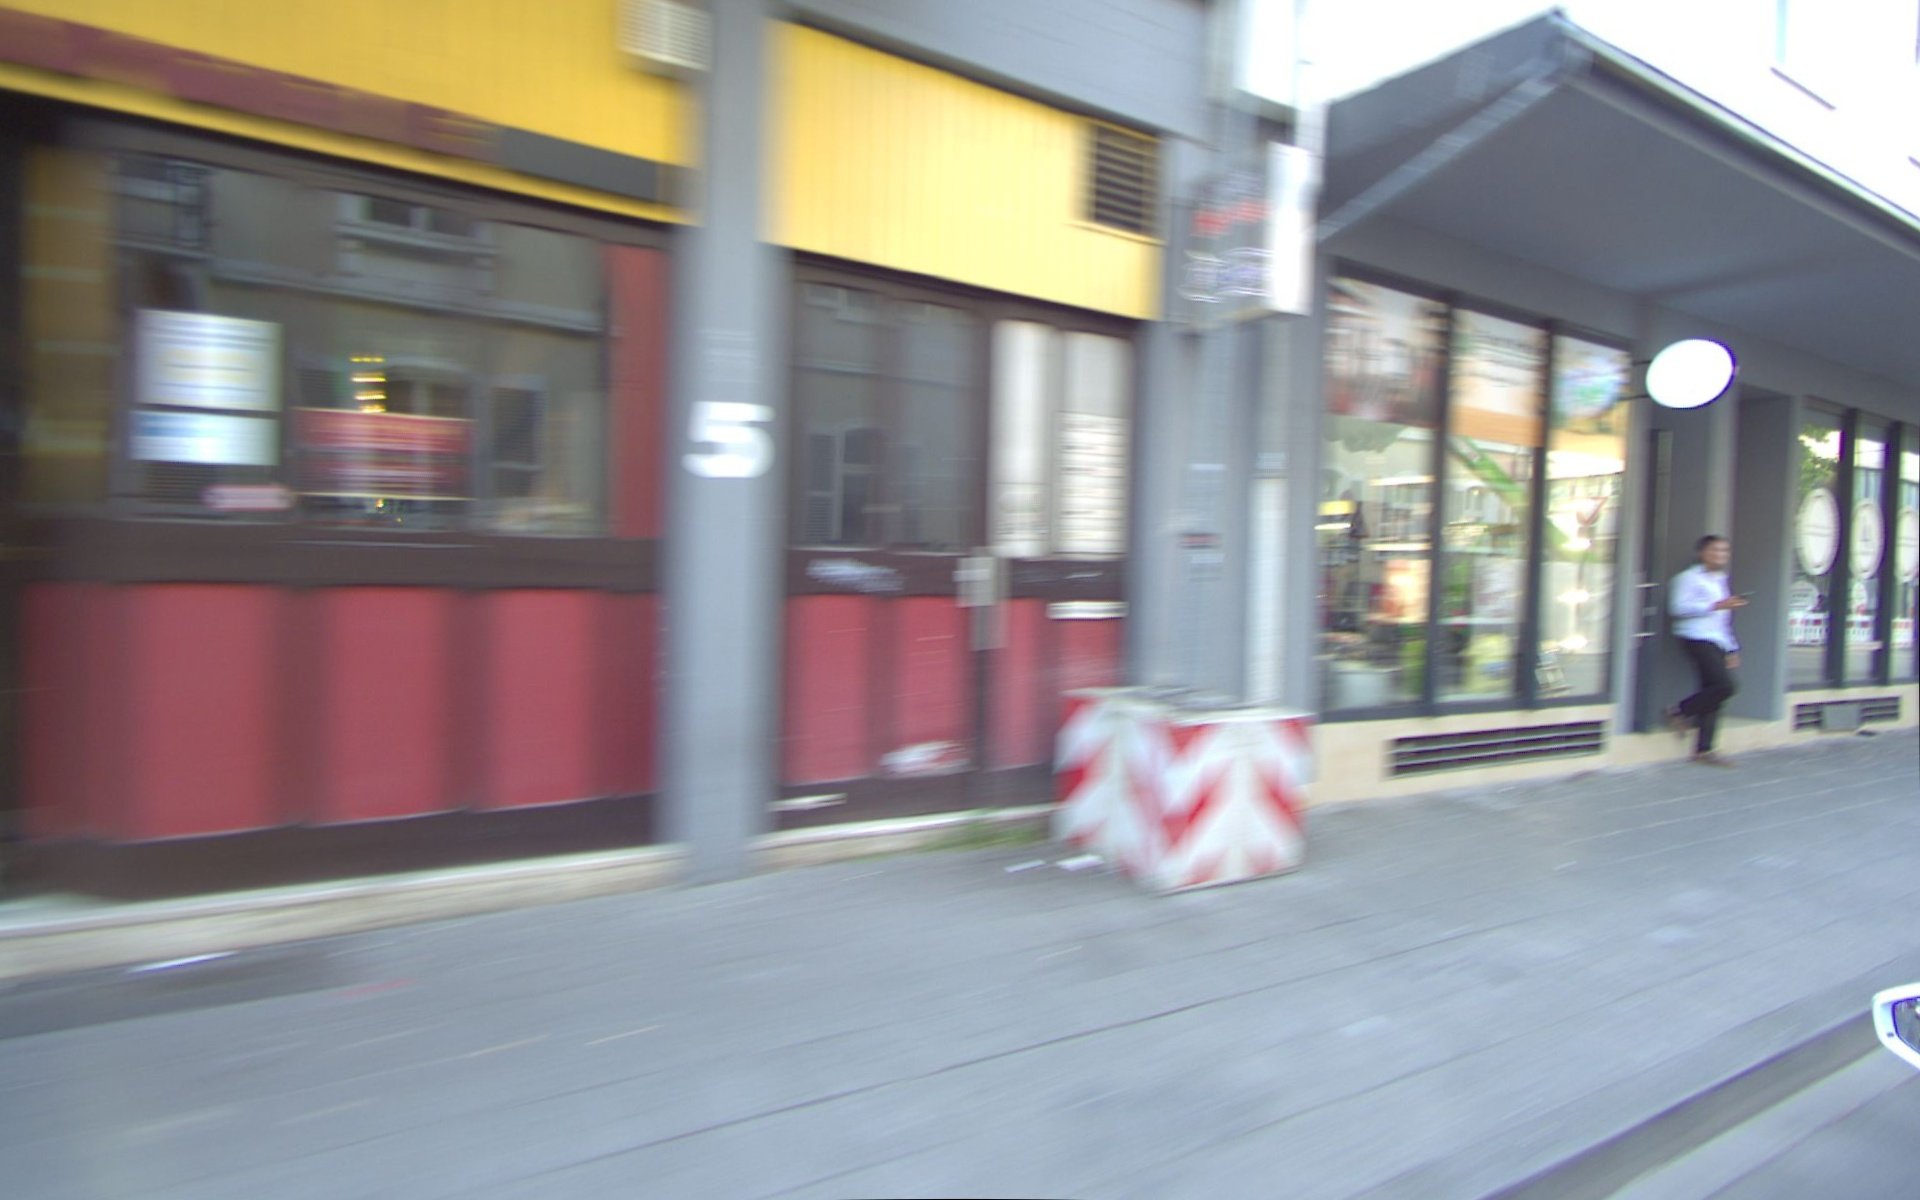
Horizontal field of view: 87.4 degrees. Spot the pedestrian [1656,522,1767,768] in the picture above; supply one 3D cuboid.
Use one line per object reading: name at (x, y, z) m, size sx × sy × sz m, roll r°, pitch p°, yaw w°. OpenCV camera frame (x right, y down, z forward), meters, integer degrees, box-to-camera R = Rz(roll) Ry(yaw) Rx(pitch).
pedestrian at (5.970, 0.337, 7.987) m, size 0.557 × 1.859 × 0.526 m, roll 0°, pitch 2°, yaw -36°
